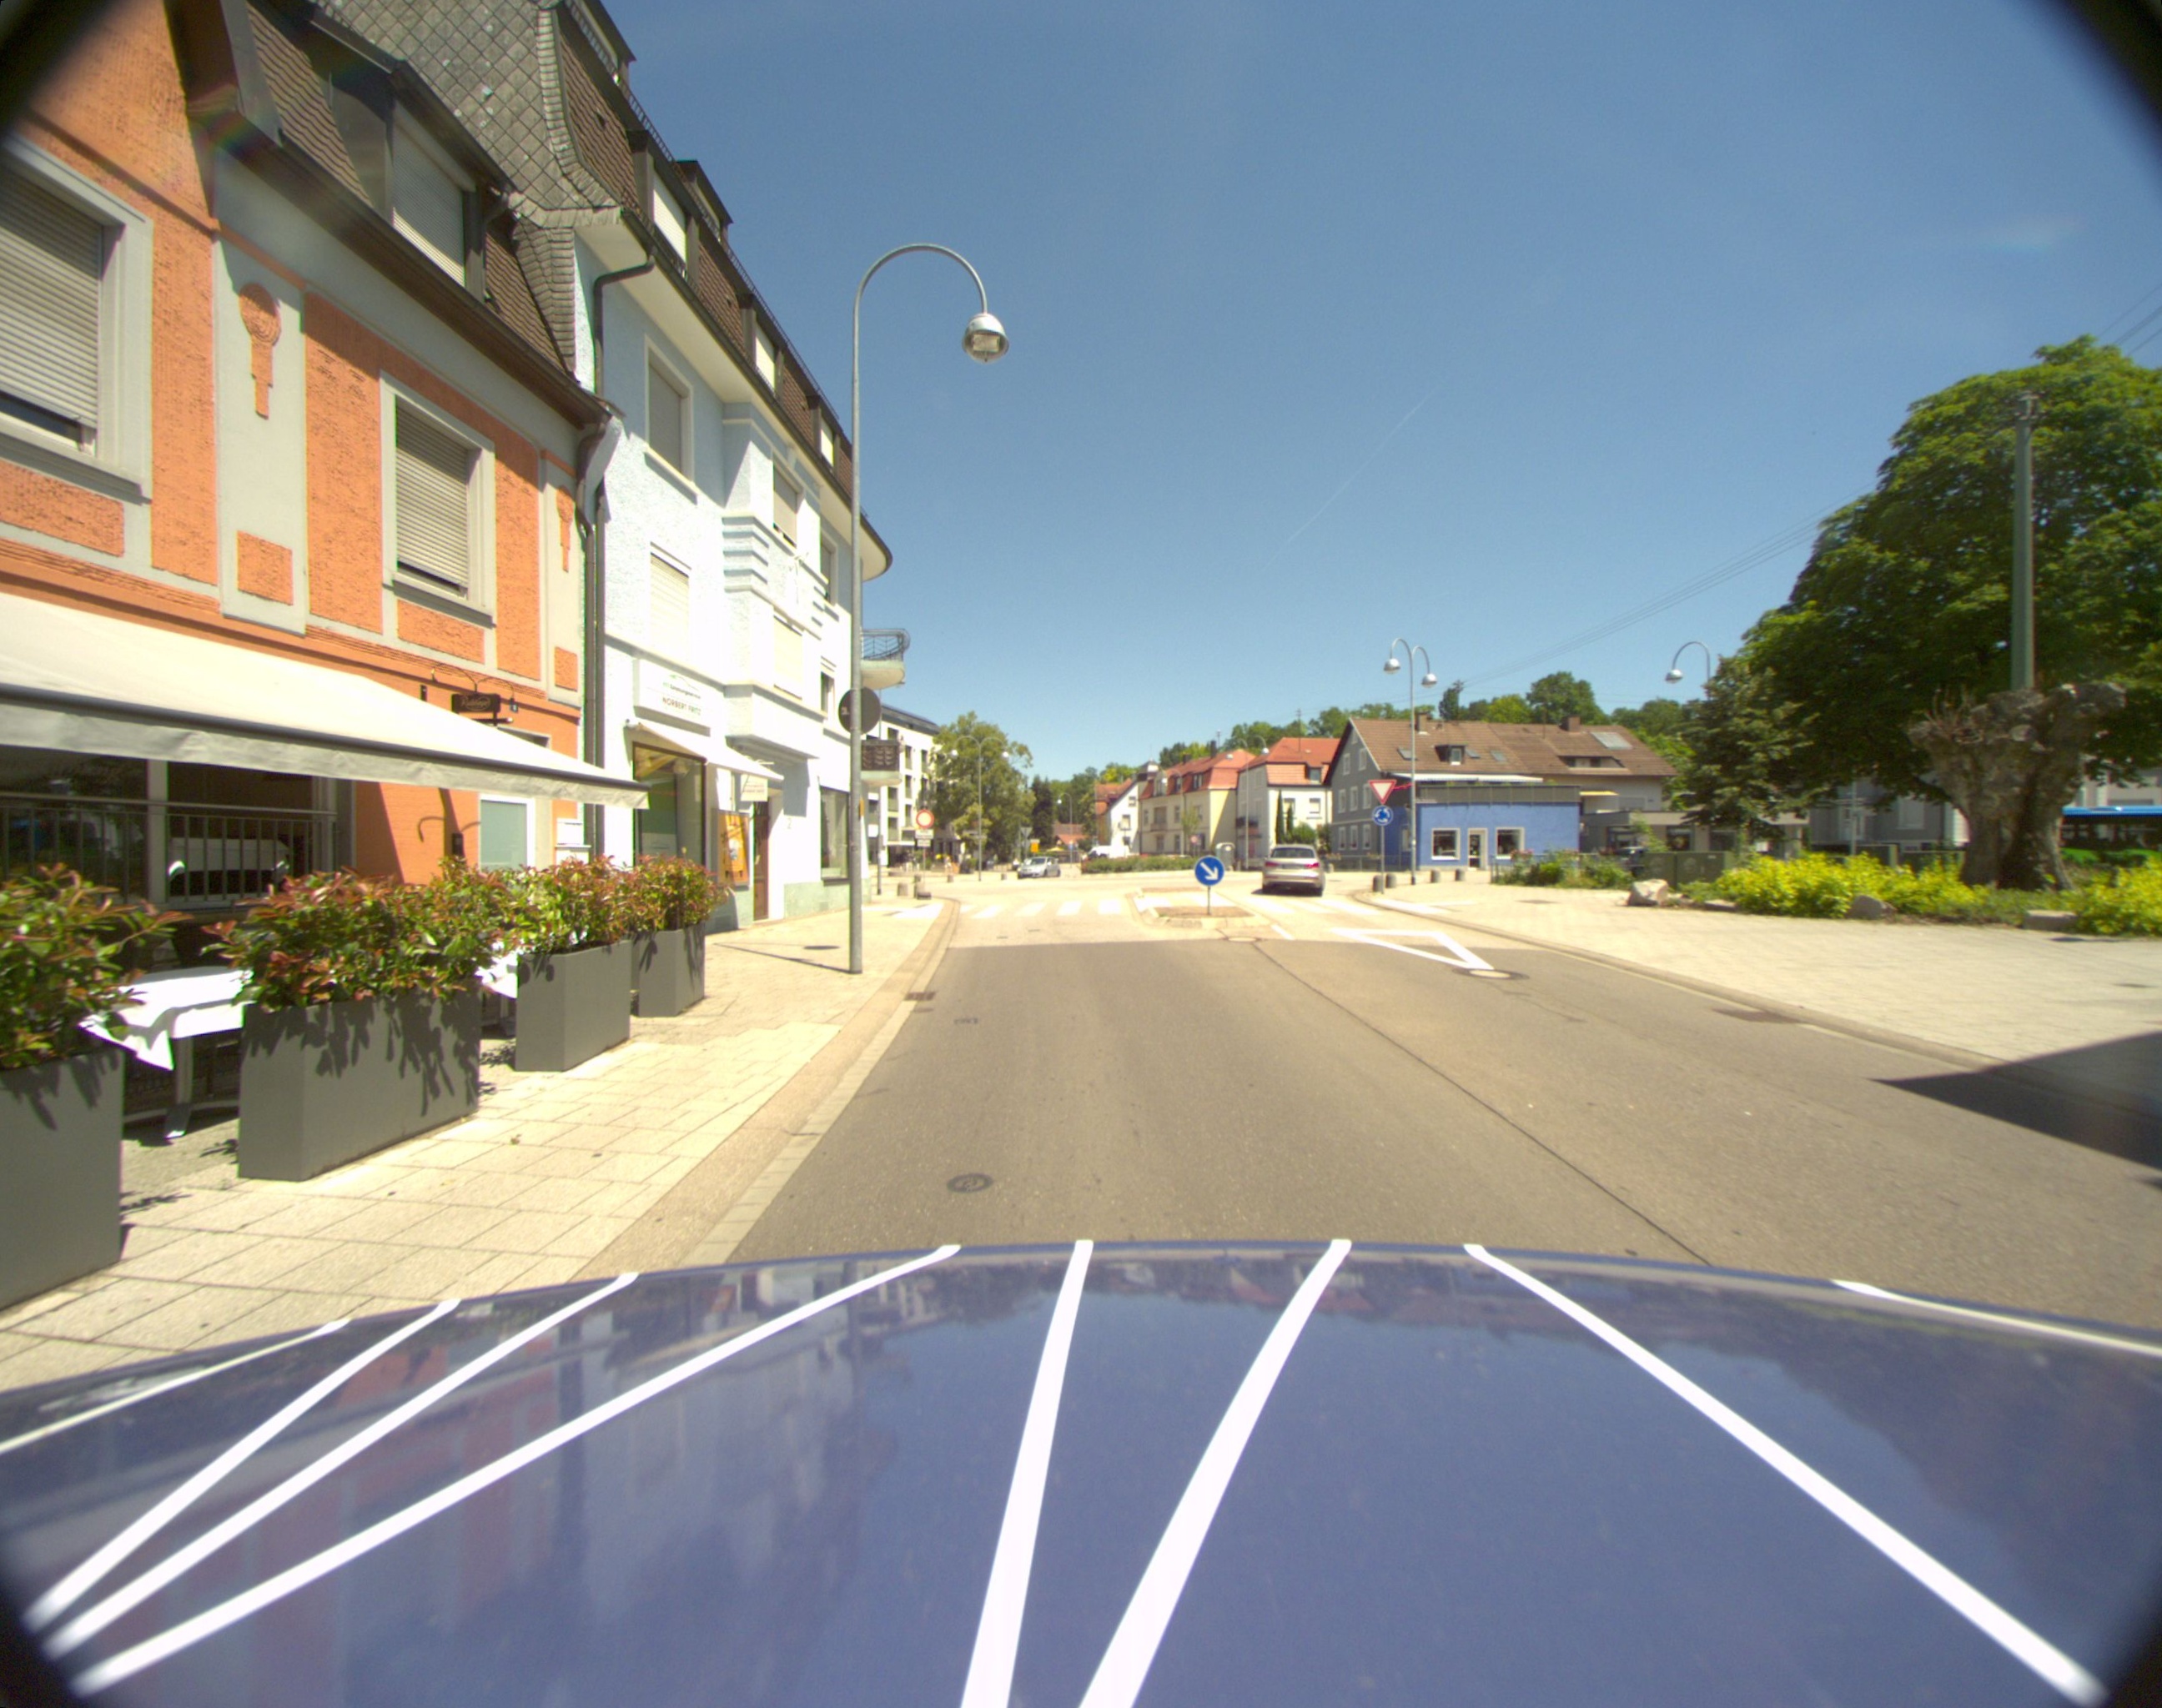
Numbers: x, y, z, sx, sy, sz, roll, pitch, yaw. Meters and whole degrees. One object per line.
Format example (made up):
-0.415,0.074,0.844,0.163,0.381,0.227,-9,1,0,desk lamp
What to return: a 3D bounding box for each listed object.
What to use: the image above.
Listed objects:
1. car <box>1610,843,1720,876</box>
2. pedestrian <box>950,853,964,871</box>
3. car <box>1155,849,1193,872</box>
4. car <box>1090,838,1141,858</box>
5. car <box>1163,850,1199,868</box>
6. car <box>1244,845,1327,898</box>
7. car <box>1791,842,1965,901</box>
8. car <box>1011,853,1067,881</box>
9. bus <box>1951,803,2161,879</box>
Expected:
26.353,0.255,34.408,3.709,1.404,1.552,-1,1,27,car
-11.112,0.713,68.199,0.816,1.639,0.952,-1,1,32,pedestrian
6.965,0.503,56.378,1.742,1.507,4.216,-3,-3,21,car
4.908,-0.814,107.950,7.045,2.727,2.378,-1,1,-2,car
8.653,0.417,66.112,1.610,1.384,4.073,-4,1,-14,car
6.478,0.496,24.485,1.679,1.534,4.084,1,1,2,car
22.837,0.470,21.914,1.634,1.543,3.056,-1,0,-11,car
-2.547,0.776,47.115,1.996,1.646,4.209,-1,0,18,car
49.491,-0.642,32.960,18.049,3.154,3.718,0,2,4,bus
